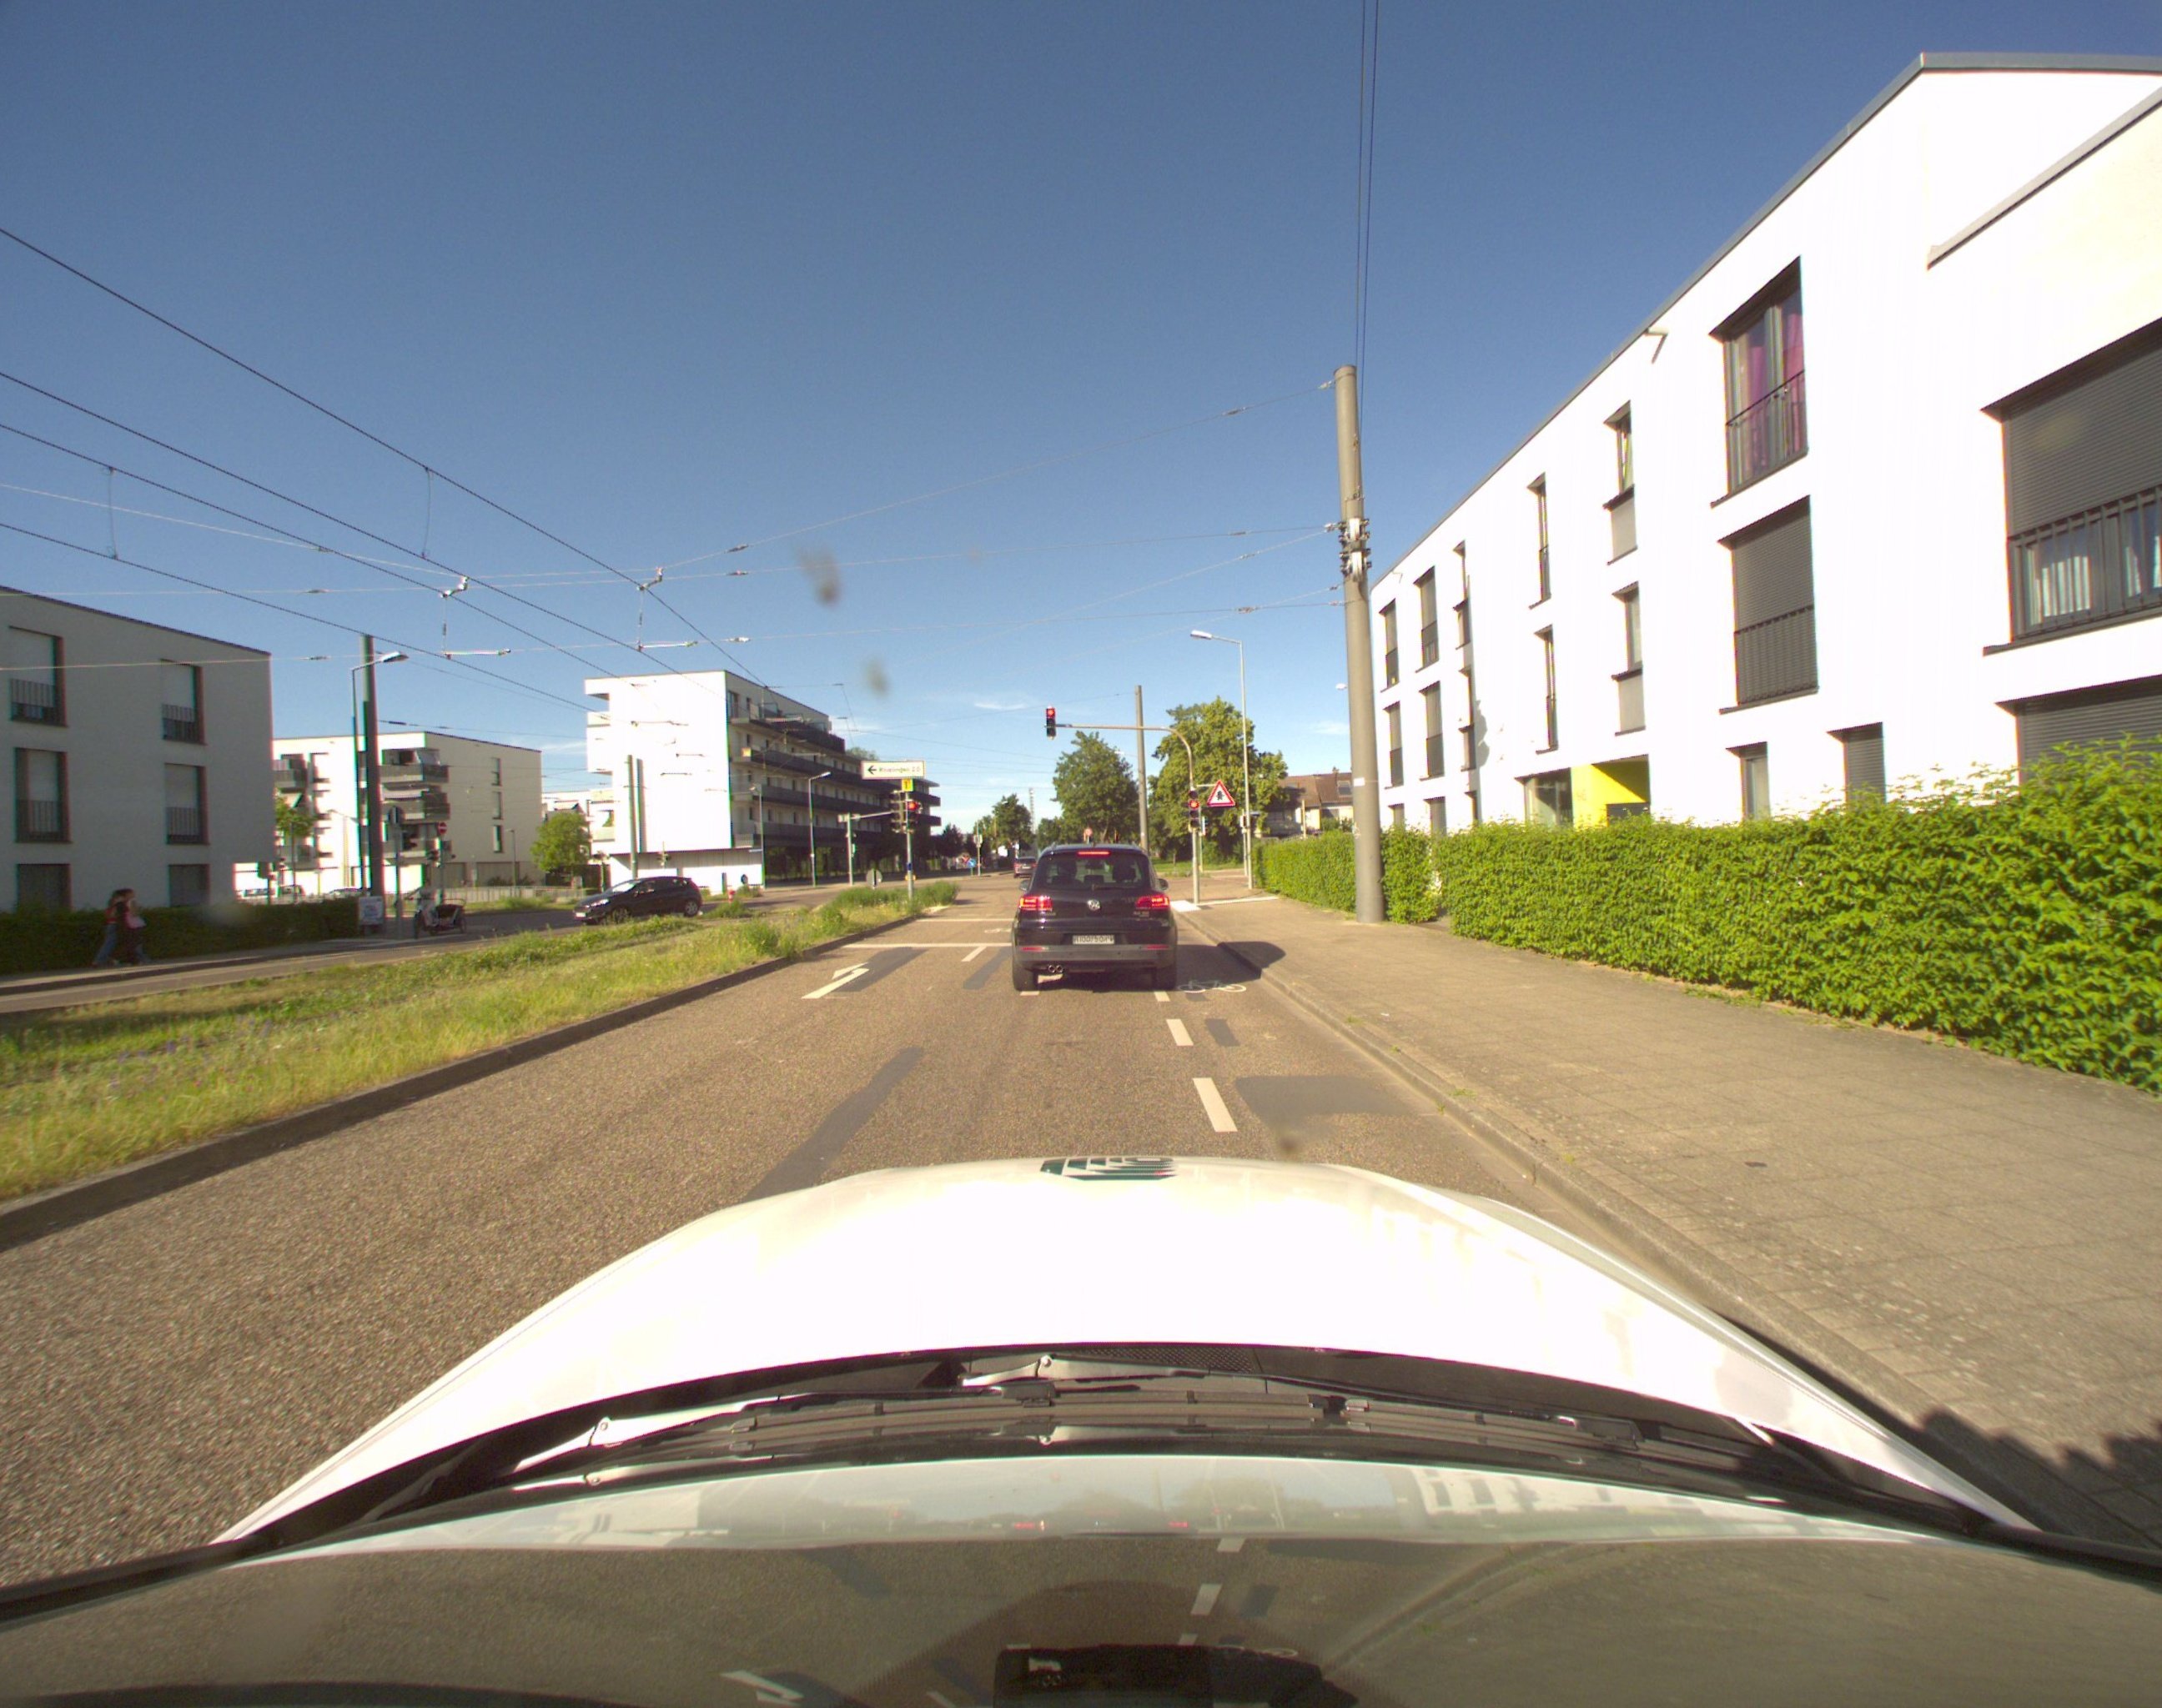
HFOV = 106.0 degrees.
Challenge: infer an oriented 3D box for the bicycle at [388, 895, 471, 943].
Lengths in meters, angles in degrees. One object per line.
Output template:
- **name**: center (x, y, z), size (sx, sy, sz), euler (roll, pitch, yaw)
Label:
- **bicycle**: center (-19.798, 1.942, 24.821), size (0.794, 1.221, 2.692), euler (-1, 0, -11)

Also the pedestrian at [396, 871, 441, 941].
- **pedestrian**: center (-19.684, 1.518, 24.211), size (0.761, 2.013, 0.667), euler (-1, 0, -12)

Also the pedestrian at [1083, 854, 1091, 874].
- **pedestrian**: center (0.468, 0.788, 63.128), size (0.600, 1.565, 0.530), euler (-1, 0, 6)

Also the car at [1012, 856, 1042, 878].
- **car**: center (-3.768, 0.893, 57.245), size (1.745, 1.387, 4.000), euler (-1, 0, 0)

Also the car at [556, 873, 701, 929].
- **car**: center (-14.774, 1.492, 26.801), size (1.687, 1.430, 3.764), euler (-4, 0, 29)

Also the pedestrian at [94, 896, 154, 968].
- **pedestrian**: center (-20.574, 1.661, 17.516), size (0.555, 1.464, 0.612), euler (-1, 0, 2)

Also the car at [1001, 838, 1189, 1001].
- **car**: center (0.160, 0.665, 10.389), size (1.899, 1.643, 4.000), euler (-1, 0, 0)

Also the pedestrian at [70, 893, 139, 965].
- **pedestrian**: center (-21.136, 1.609, 17.640), size (0.555, 1.464, 0.743), euler (-1, 0, 3)

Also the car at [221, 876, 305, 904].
- **car**: center (-58.767, 2.547, 58.544), size (3.974, 1.838, 2.000), euler (-1, 0, 0)
